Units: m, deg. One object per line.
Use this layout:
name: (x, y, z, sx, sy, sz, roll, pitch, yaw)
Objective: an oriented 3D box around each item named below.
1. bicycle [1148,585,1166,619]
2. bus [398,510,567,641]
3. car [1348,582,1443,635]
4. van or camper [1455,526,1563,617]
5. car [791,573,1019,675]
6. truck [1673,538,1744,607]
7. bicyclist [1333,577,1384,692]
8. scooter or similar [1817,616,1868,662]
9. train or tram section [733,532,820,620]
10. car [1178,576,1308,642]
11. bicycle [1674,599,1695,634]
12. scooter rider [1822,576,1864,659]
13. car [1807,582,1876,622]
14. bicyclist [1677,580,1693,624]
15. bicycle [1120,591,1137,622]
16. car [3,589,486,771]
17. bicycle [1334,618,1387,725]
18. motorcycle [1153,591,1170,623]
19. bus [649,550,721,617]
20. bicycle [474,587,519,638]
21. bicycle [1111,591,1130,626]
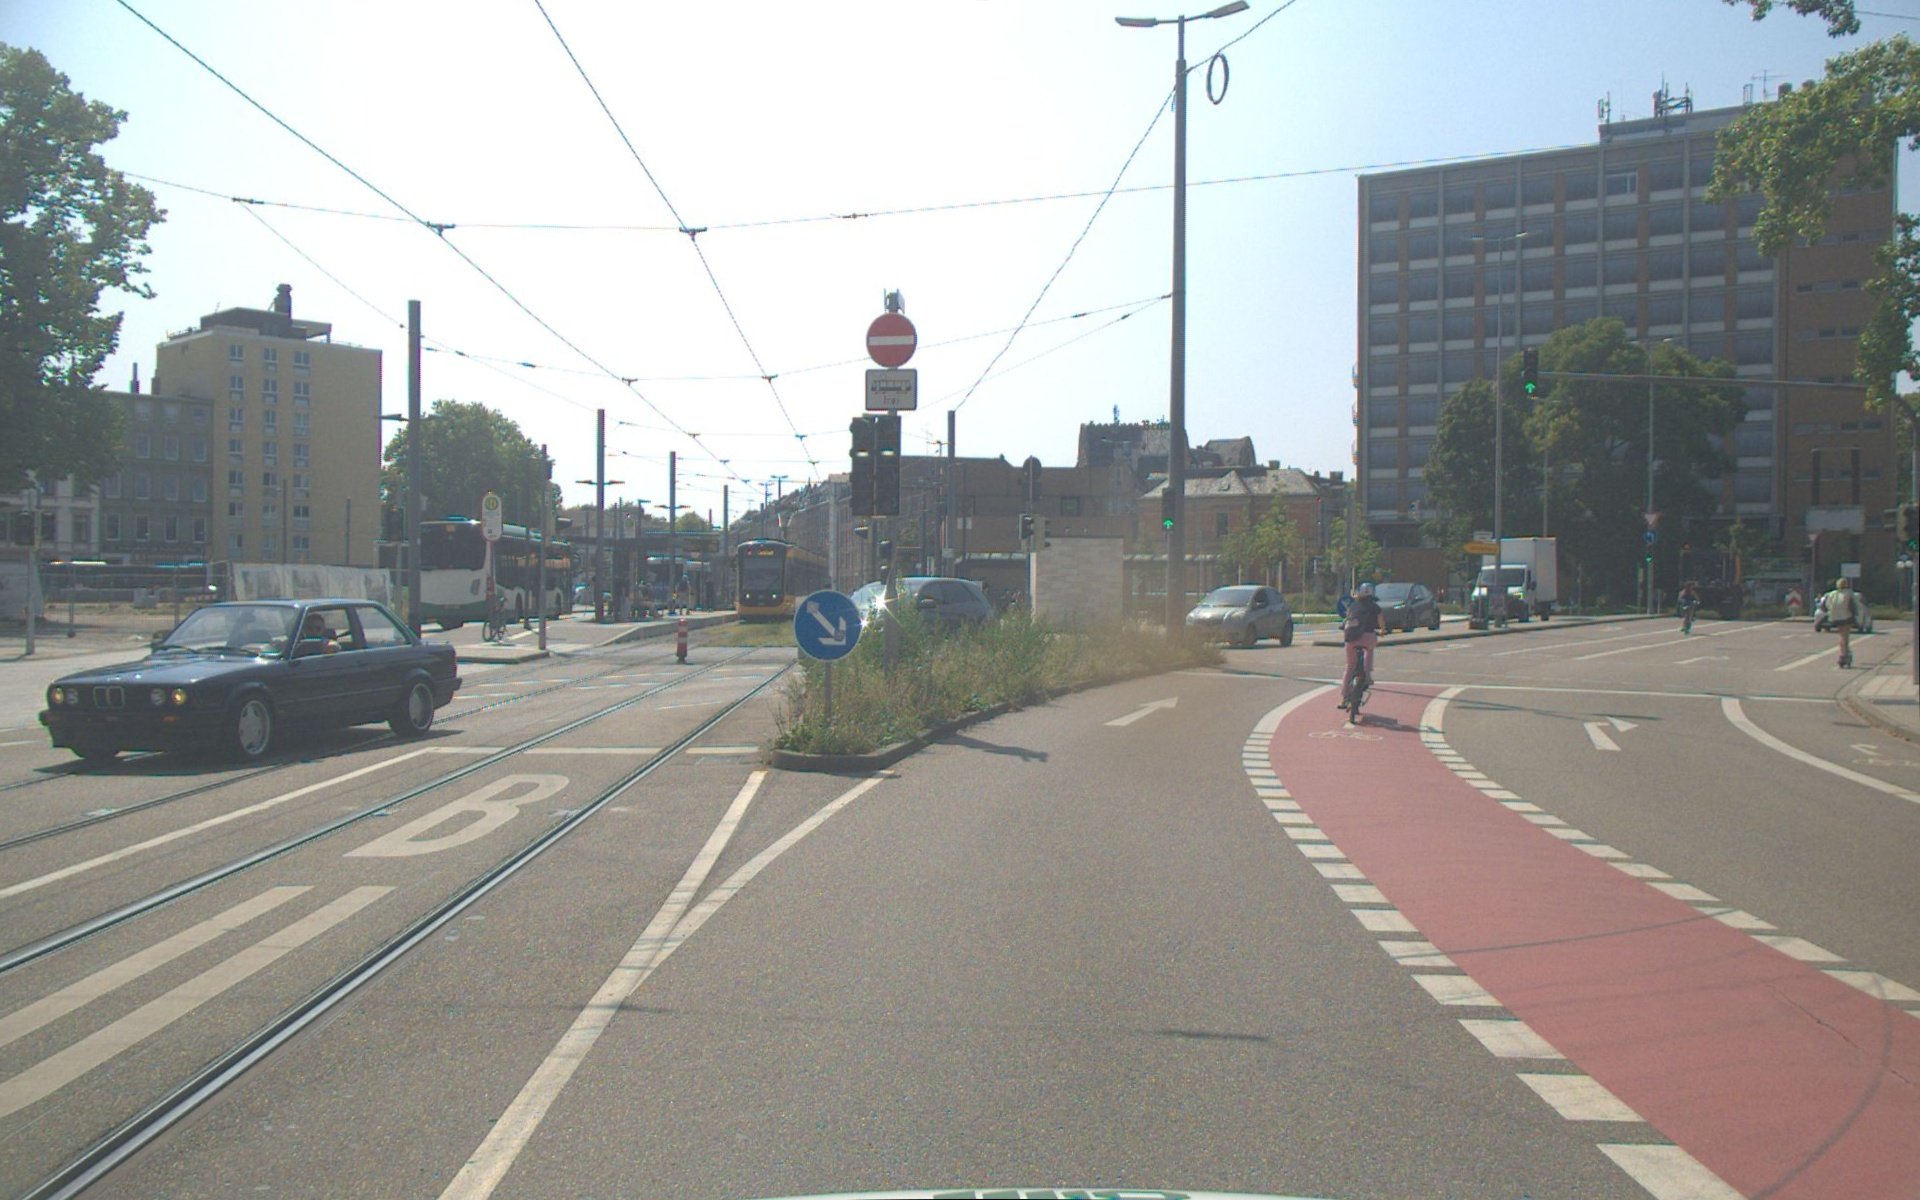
bicycle: (7.152, 0.056, 60.037, 0.591, 1.232, 1.812, 0, 0, 9)
bus: (-15.440, -0.752, 54.473, 2.899, 3.840, 10.591, 1, 0, -3)
car: (13.441, 0.226, 50.912, 1.666, 1.557, 4.172, 0, 0, 33)
van or camper: (21.686, -1.092, 65.091, 2.357, 3.364, 7.171, 0, 0, 32)
car: (-0.861, 0.365, 29.001, 1.739, 1.638, 4.662, 0, 0, 31)
truck: (34.590, -1.210, 76.338, 2.644, 3.042, 5.959, 1, 0, 27)
bicyclist: (4.815, 0.405, 19.970, 0.590, 1.358, 0.660, 0, 0, 15)
scooter or similar: (19.384, 0.852, 36.323, 0.759, 0.942, 1.614, 1, 1, 36)
train or tram section: (-8.393, -1.038, 77.909, 2.799, 3.610, 17.734, 1, 0, -2)
car: (7.163, 0.202, 41.501, 1.622, 1.557, 4.312, 0, 0, 34)
bicycle: (23.929, 0.528, 54.610, 0.436, 1.136, 1.443, 0, 0, 31)
scooter rider: (19.430, 0.385, 36.392, 0.749, 1.806, 0.553, 0, 0, 37)
car: (32.913, 0.061, 61.715, 1.811, 1.416, 3.986, 0, 0, 35)
bicyclist: (23.976, 0.049, 54.689, 0.441, 1.446, 0.494, 0, 0, 31)
bicycle: (6.823, 0.262, 67.006, 0.591, 1.232, 1.812, 0, 0, 9)
car: (-6.294, 0.600, 15.244, 1.652, 1.402, 4.622, 0, 0, 13)
bicycle: (4.837, 0.834, 19.978, 0.591, 1.183, 1.812, 0, 0, 14)
motorcycle: (8.016, 0.266, 65.720, 0.591, 1.232, 2.255, 0, 0, 9)
bus: (-16.542, -0.976, 100.173, 2.654, 3.792, 10.417, 1, 0, -1)
bicycle: (-11.565, 0.298, 41.336, 0.595, 1.244, 1.705, 0, 0, 2)
bicycle: (5.851, 0.305, 60.354, 0.591, 1.232, 1.812, 0, 0, 9)
